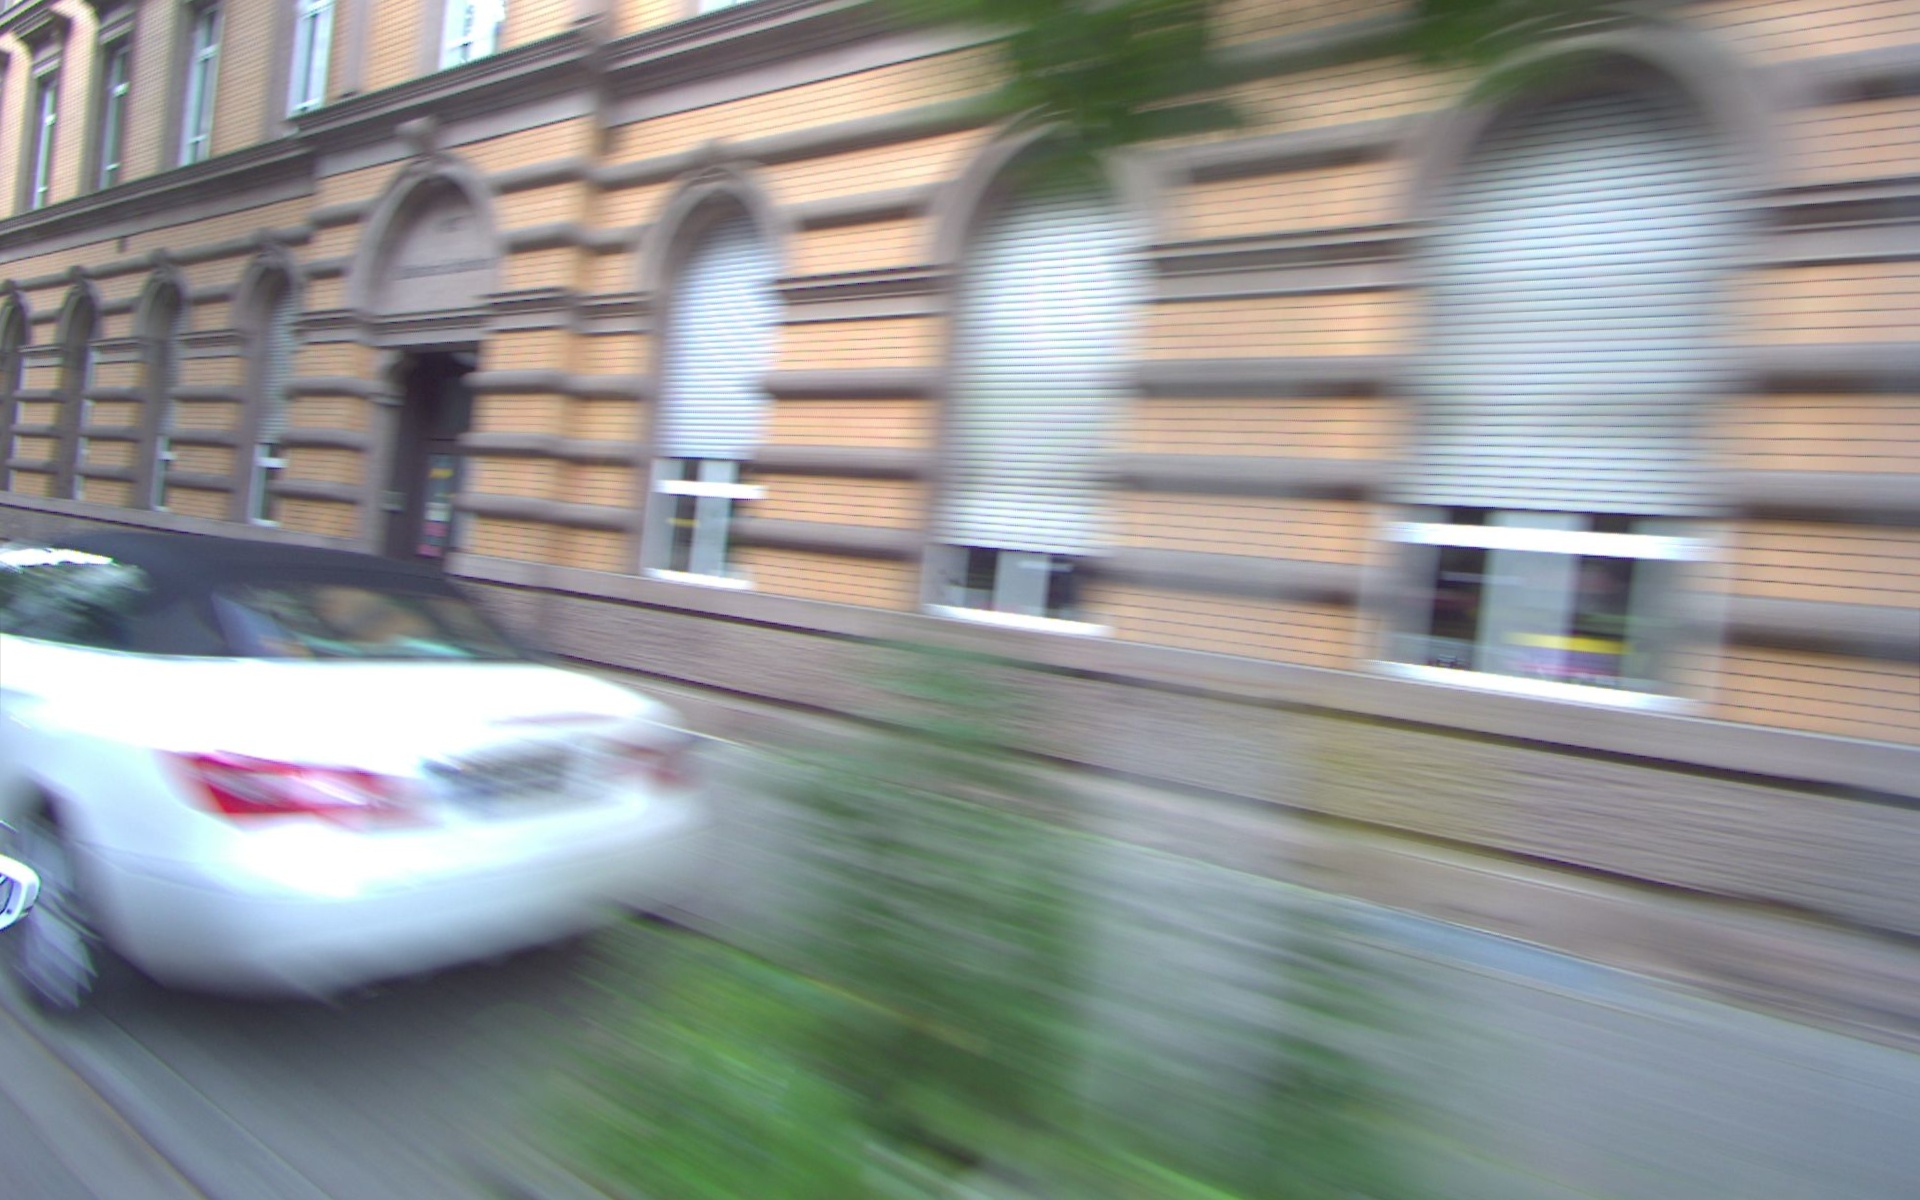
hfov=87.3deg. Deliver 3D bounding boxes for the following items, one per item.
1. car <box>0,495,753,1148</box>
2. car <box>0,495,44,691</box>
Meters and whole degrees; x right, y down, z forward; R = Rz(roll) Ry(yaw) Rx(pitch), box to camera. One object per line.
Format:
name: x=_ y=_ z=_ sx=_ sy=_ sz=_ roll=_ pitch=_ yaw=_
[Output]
car: x=-3.217 y=0.381 z=4.217 sx=4.569 sy=1.418 sz=1.696 roll=7 pitch=0 yaw=31
car: x=-9.284 y=-0.284 z=8.065 sx=4.145 sy=1.467 sz=1.724 roll=6 pitch=0 yaw=32
